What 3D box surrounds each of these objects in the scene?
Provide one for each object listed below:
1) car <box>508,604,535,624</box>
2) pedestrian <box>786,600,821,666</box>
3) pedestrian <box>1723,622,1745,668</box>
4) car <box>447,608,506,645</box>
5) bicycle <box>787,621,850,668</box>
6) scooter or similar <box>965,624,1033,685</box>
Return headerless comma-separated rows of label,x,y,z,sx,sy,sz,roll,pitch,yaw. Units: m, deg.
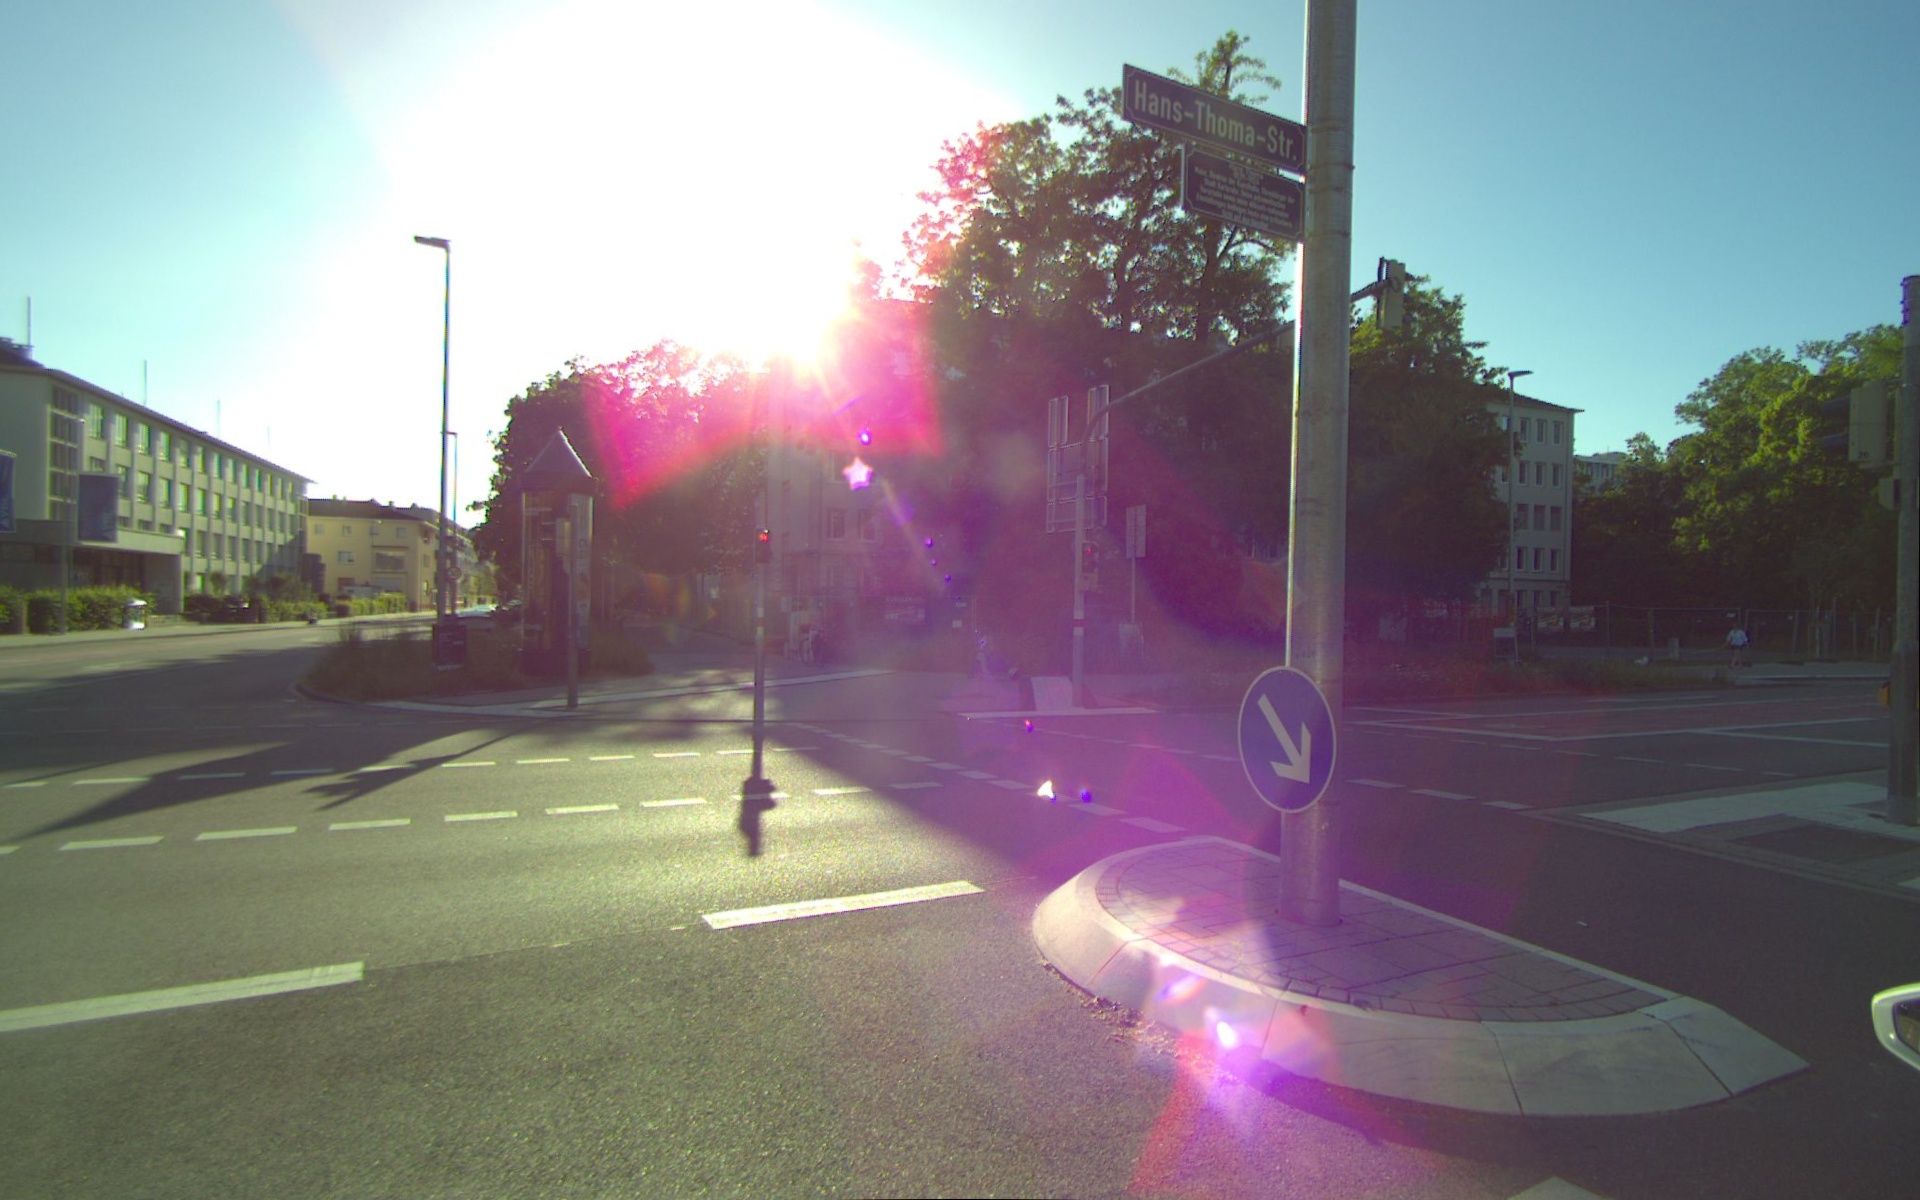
car,-36.694,1.178,84.198,1.784,1.607,3.982,1,-1,-20
pedestrian,-4.130,0.858,26.439,0.634,1.718,0.974,1,0,-25
pedestrian,26.578,1.545,34.485,0.565,1.554,0.448,1,0,-34
car,-21.693,1.143,45.191,2.038,1.560,4.238,1,-1,-21
bicycle,-3.821,1.152,26.829,0.967,1.151,2.563,1,-1,-25
scooter or similar,0.856,1.215,22.455,1.466,1.311,0.695,1,0,0
